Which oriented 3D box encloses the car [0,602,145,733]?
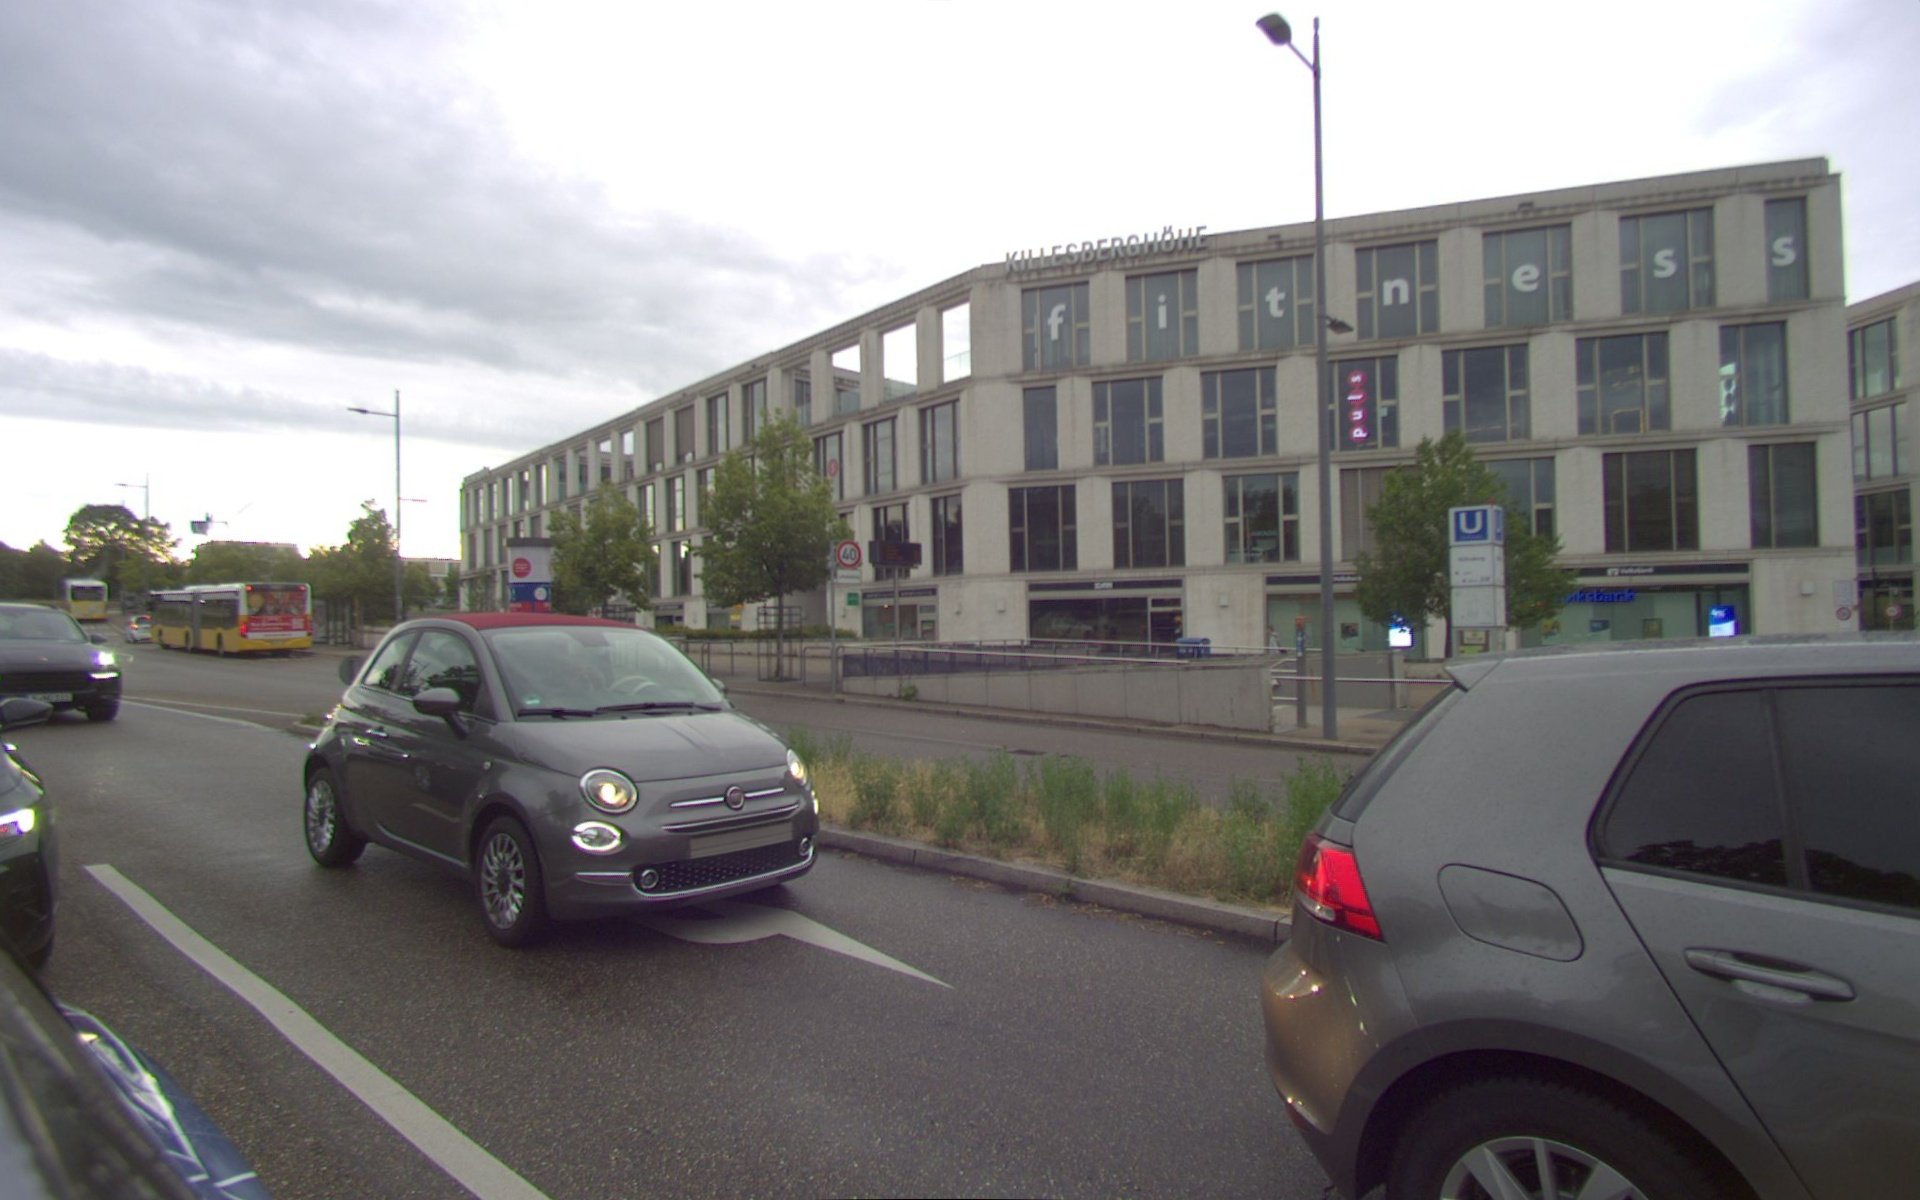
[{"bbox_3d":[-13.715,0.898,14.746,4.612,1.671,1.910,-1,-1,39],"label":"car"}]

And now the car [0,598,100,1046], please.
[{"bbox_3d":[-5.407,0.761,4.393,4.766,1.476,1.877,-1,0,41],"label":"car"}]

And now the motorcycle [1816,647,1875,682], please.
[{"bbox_3d":[20.455,1.483,23.400,0.517,0.746,1.098,-1,0,9],"label":"motorcycle"}]

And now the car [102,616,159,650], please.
[{"bbox_3d":[-46.688,1.825,56.955,3.998,1.800,1.843,-1,0,41],"label":"car"}]

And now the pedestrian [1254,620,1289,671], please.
[{"bbox_3d":[9.960,1.445,32.343,0.912,1.617,0.756,-1,-2,33],"label":"pedestrian"}]

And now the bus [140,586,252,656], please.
[{"bbox_3d":[-38.162,0.986,50.378,9.911,3.205,2.658,-1,0,42],"label":"bus"}]

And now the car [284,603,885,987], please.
[{"bbox_3d":[-2.243,0.795,5.688,3.502,1.492,1.611,-1,-2,39],"label":"car"}]

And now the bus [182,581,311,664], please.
[{"bbox_3d":[-31.136,0.916,43.971,9.206,3.236,2.723,-1,0,43],"label":"bus"}]

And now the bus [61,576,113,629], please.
[{"bbox_3d":[-76.479,0.264,88.903,2.717,4.185,19.383,-1,0,-39],"label":"bus"}]

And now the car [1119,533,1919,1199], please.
[{"bbox_3d":[2.594,0.651,1.561,4.374,1.492,1.797,-1,-2,41],"label":"car"}]

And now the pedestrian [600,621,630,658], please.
[{"bbox_3d":[-15.176,1.712,44.480,0.968,1.593,0.868,-1,0,-41],"label":"pedestrian"}]
